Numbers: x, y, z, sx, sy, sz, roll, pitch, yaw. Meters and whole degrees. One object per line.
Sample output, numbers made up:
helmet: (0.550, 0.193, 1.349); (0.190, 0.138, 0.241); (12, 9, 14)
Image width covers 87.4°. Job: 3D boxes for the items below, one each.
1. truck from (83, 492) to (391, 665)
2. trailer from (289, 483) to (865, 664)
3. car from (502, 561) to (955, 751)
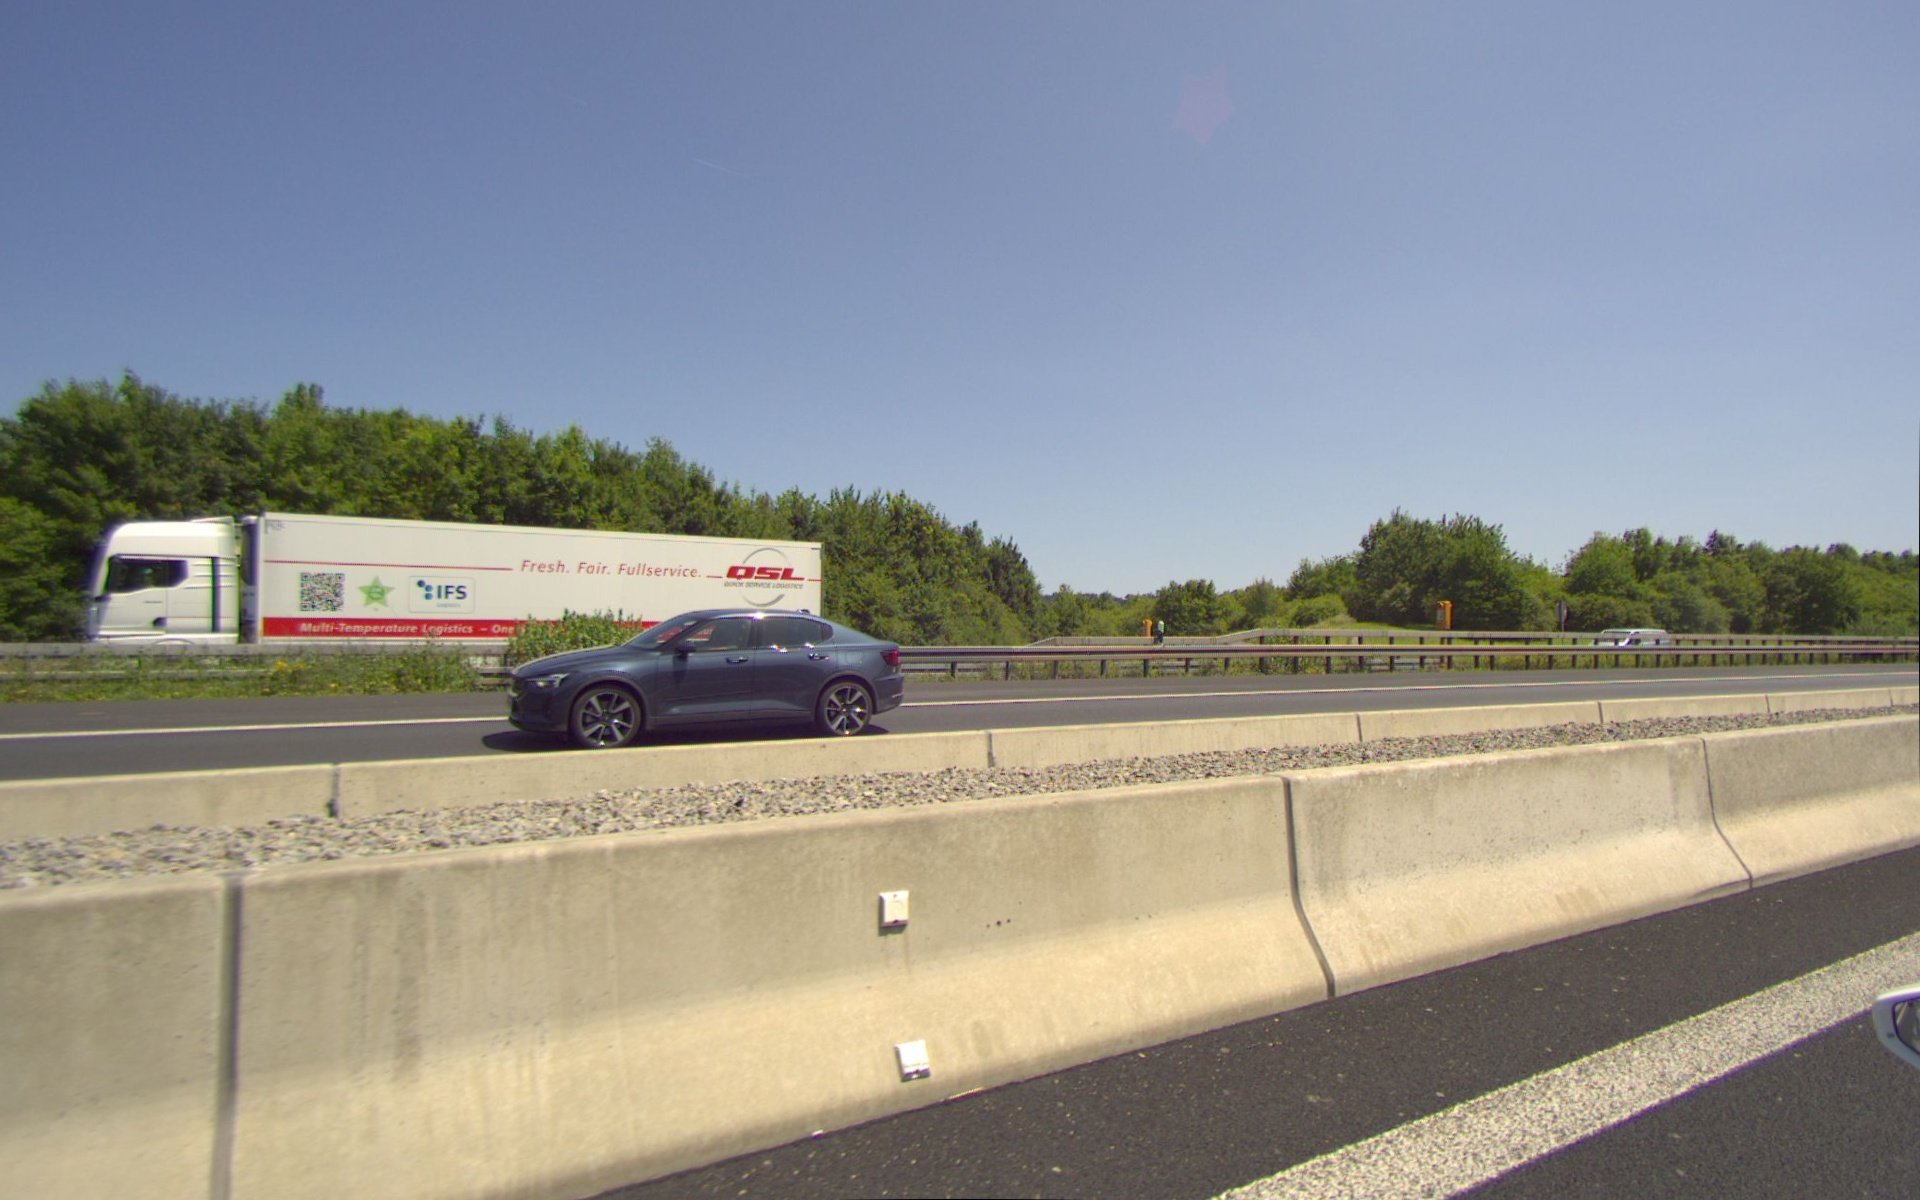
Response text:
truck: (-16.333, -0.352, 23.266); (5.344, 3.550, 3.069); (2, -1, -29)
trailer: (-9.578, -0.375, 27.170); (13.916, 4.050, 3.094); (2, -1, -30)
car: (-2.654, 0.622, 11.888); (4.848, 1.848, 1.984); (2, -1, -30)
